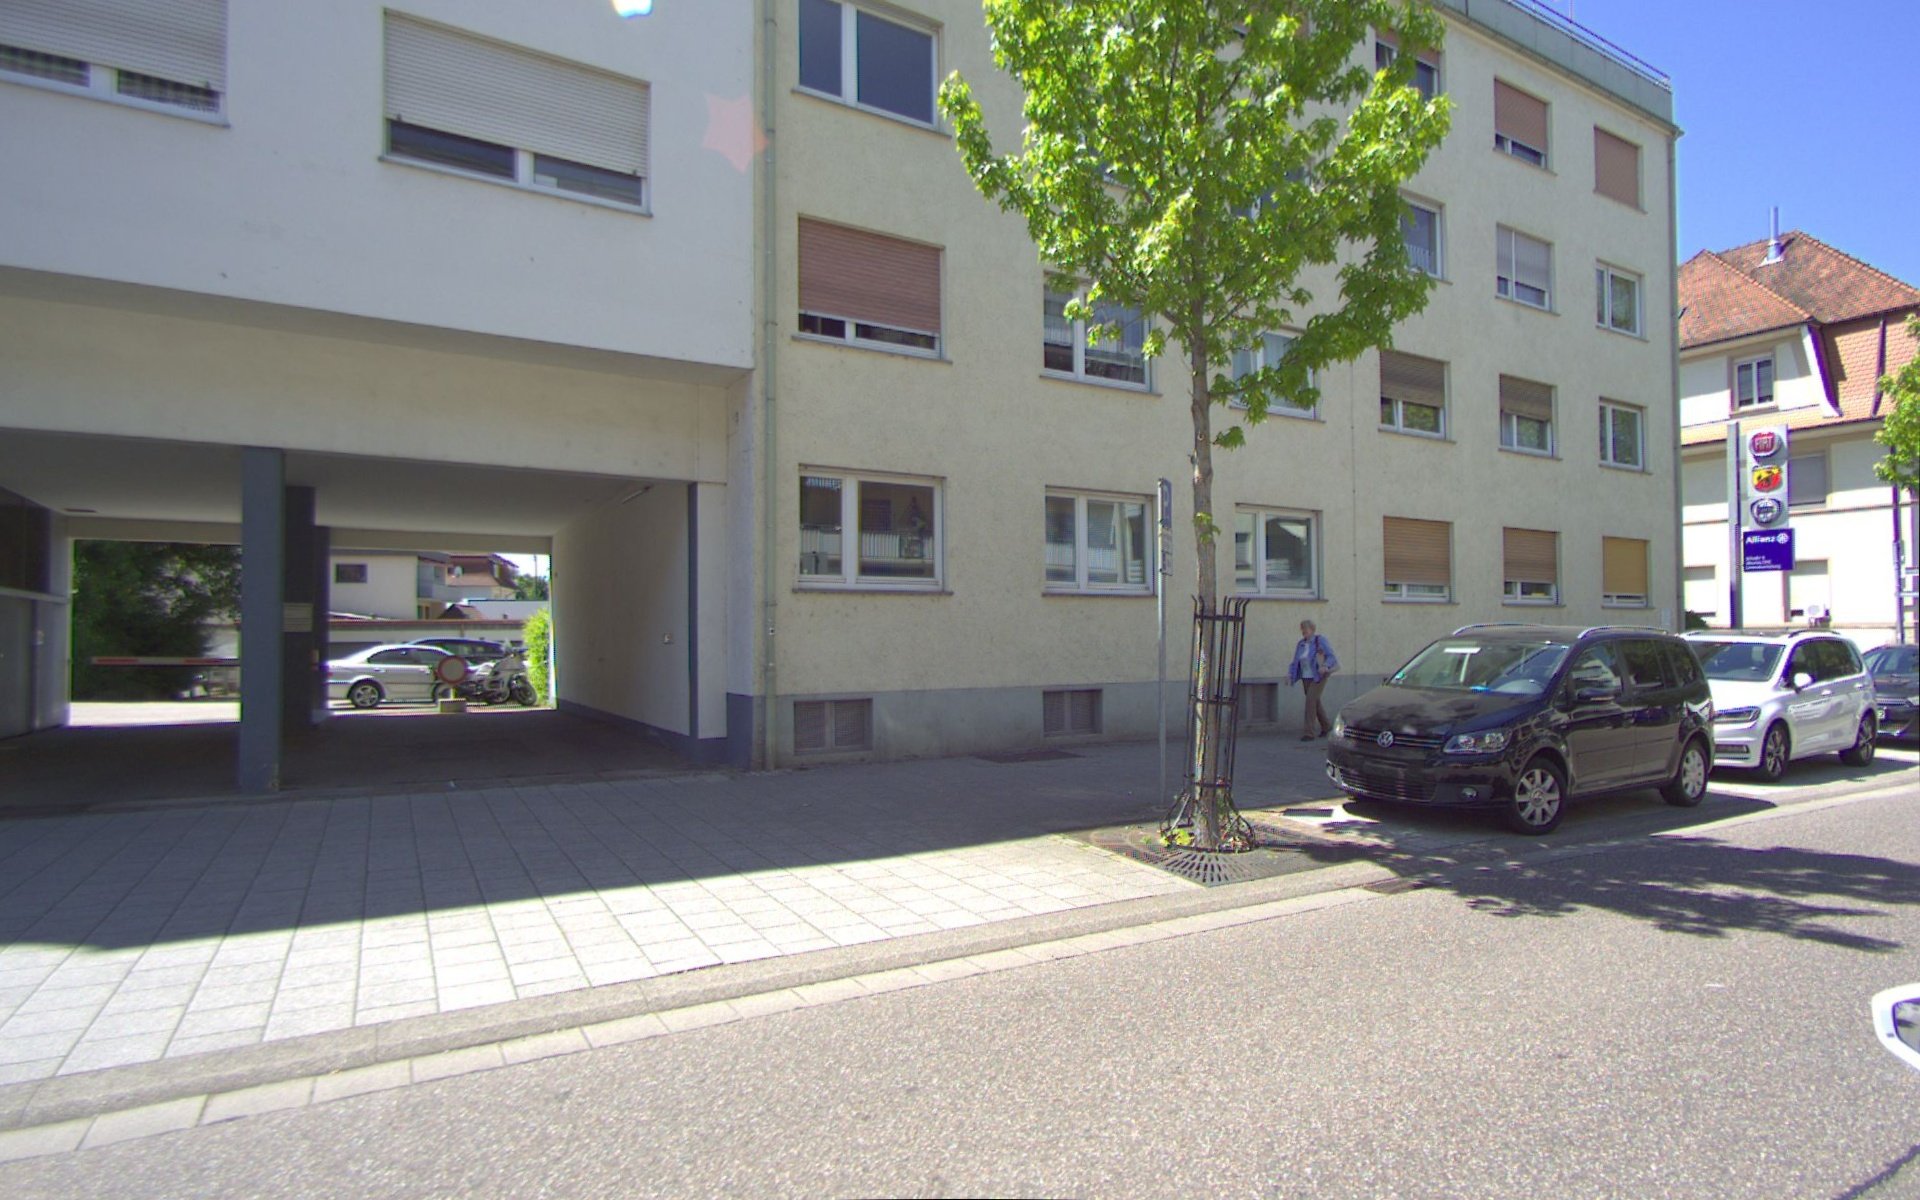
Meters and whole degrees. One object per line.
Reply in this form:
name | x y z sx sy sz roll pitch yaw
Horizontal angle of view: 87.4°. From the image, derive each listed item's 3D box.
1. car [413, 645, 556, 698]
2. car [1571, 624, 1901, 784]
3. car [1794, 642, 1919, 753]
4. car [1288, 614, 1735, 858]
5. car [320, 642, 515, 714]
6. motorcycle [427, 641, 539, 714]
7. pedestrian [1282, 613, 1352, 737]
car | -14.630 2.185 30.950 3.866 1.517 1.821 1 -4 -30
car | 9.582 1.120 12.323 4.343 1.641 1.814 1 -1 -32
car | 14.876 1.415 15.410 4.267 1.493 1.747 1 -1 -28
car | 5.199 1.049 9.295 4.343 1.764 1.719 1 0 -32
car | -12.603 1.786 23.495 3.866 1.517 1.821 1 -4 -30
motorcycle | -10.548 1.690 22.230 2.204 1.505 0.678 0 -4 -31
pedestrian | 5.093 1.056 14.334 0.649 1.702 0.628 -5 -3 42
